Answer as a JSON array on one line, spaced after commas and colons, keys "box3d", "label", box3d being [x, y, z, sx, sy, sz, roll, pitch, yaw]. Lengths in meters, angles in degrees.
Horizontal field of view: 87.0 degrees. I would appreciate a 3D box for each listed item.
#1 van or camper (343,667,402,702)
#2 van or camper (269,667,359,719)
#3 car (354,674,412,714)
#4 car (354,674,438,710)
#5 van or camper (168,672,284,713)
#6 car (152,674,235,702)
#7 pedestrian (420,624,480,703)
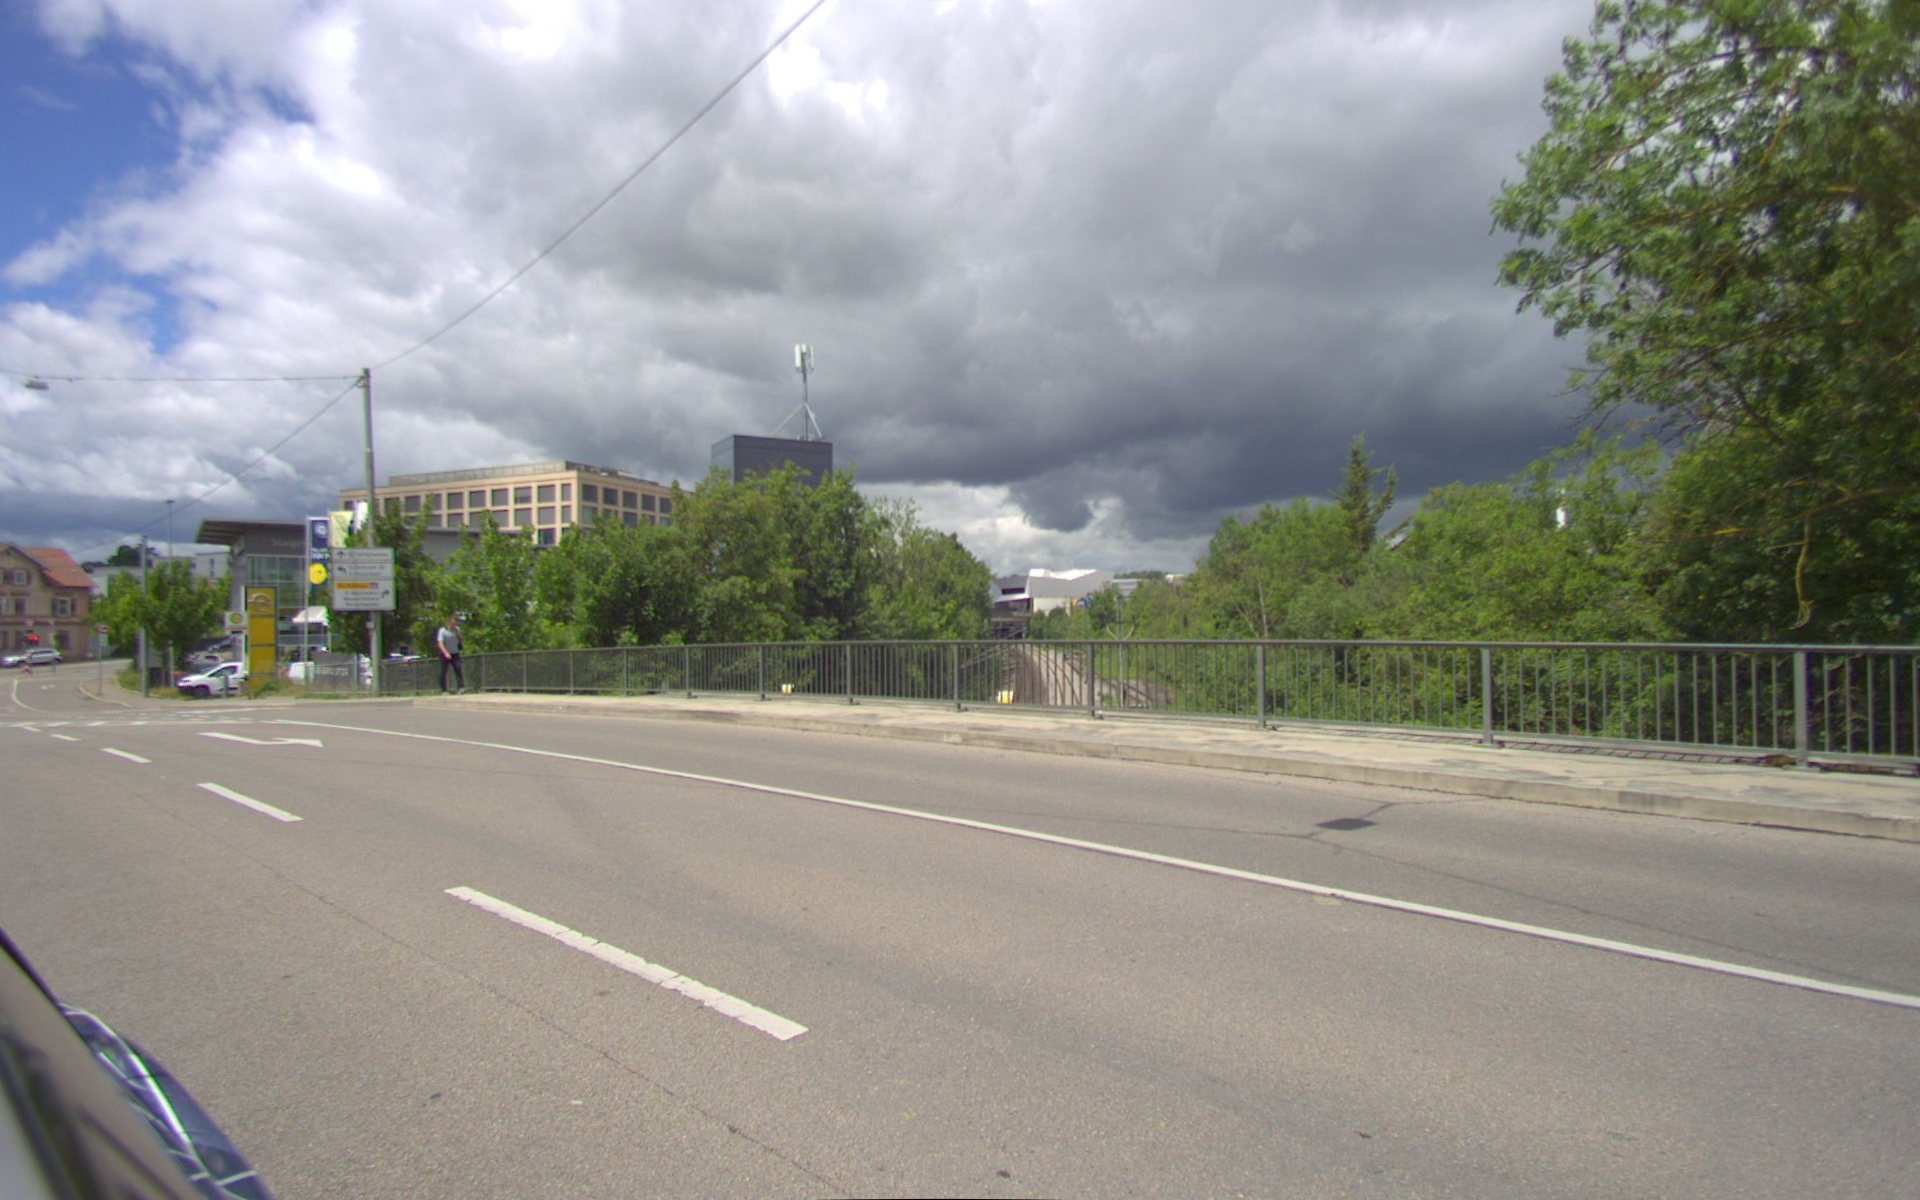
[{"box3d": [-36.864, 5.271, 63.480, 4.686, 2.029, 1.971, -4, -4, 44], "label": "van or camper"}, {"box3d": [-29.429, 4.191, 46.270, 1.957, 1.978, 4.972, -2, -2, -14], "label": "van or camper"}, {"box3d": [-25.788, 4.164, 45.359, 1.786, 1.478, 4.013, -1, -2, -23], "label": "car"}, {"box3d": [-28.543, 4.638, 51.329, 1.795, 1.478, 3.993, -2, -1, 5], "label": "car"}, {"box3d": [-37.274, 4.670, 51.439, 4.611, 1.763, 2.002, 0, -3, -42], "label": "van or camper"}, {"box3d": [-47.168, 5.410, 62.327, 1.812, 1.509, 3.807, -4, -3, 43], "label": "car"}, {"box3d": [-12.553, 1.566, 24.905, 1.037, 1.851, 0.985, -5, -3, 43], "label": "pedestrian"}]
